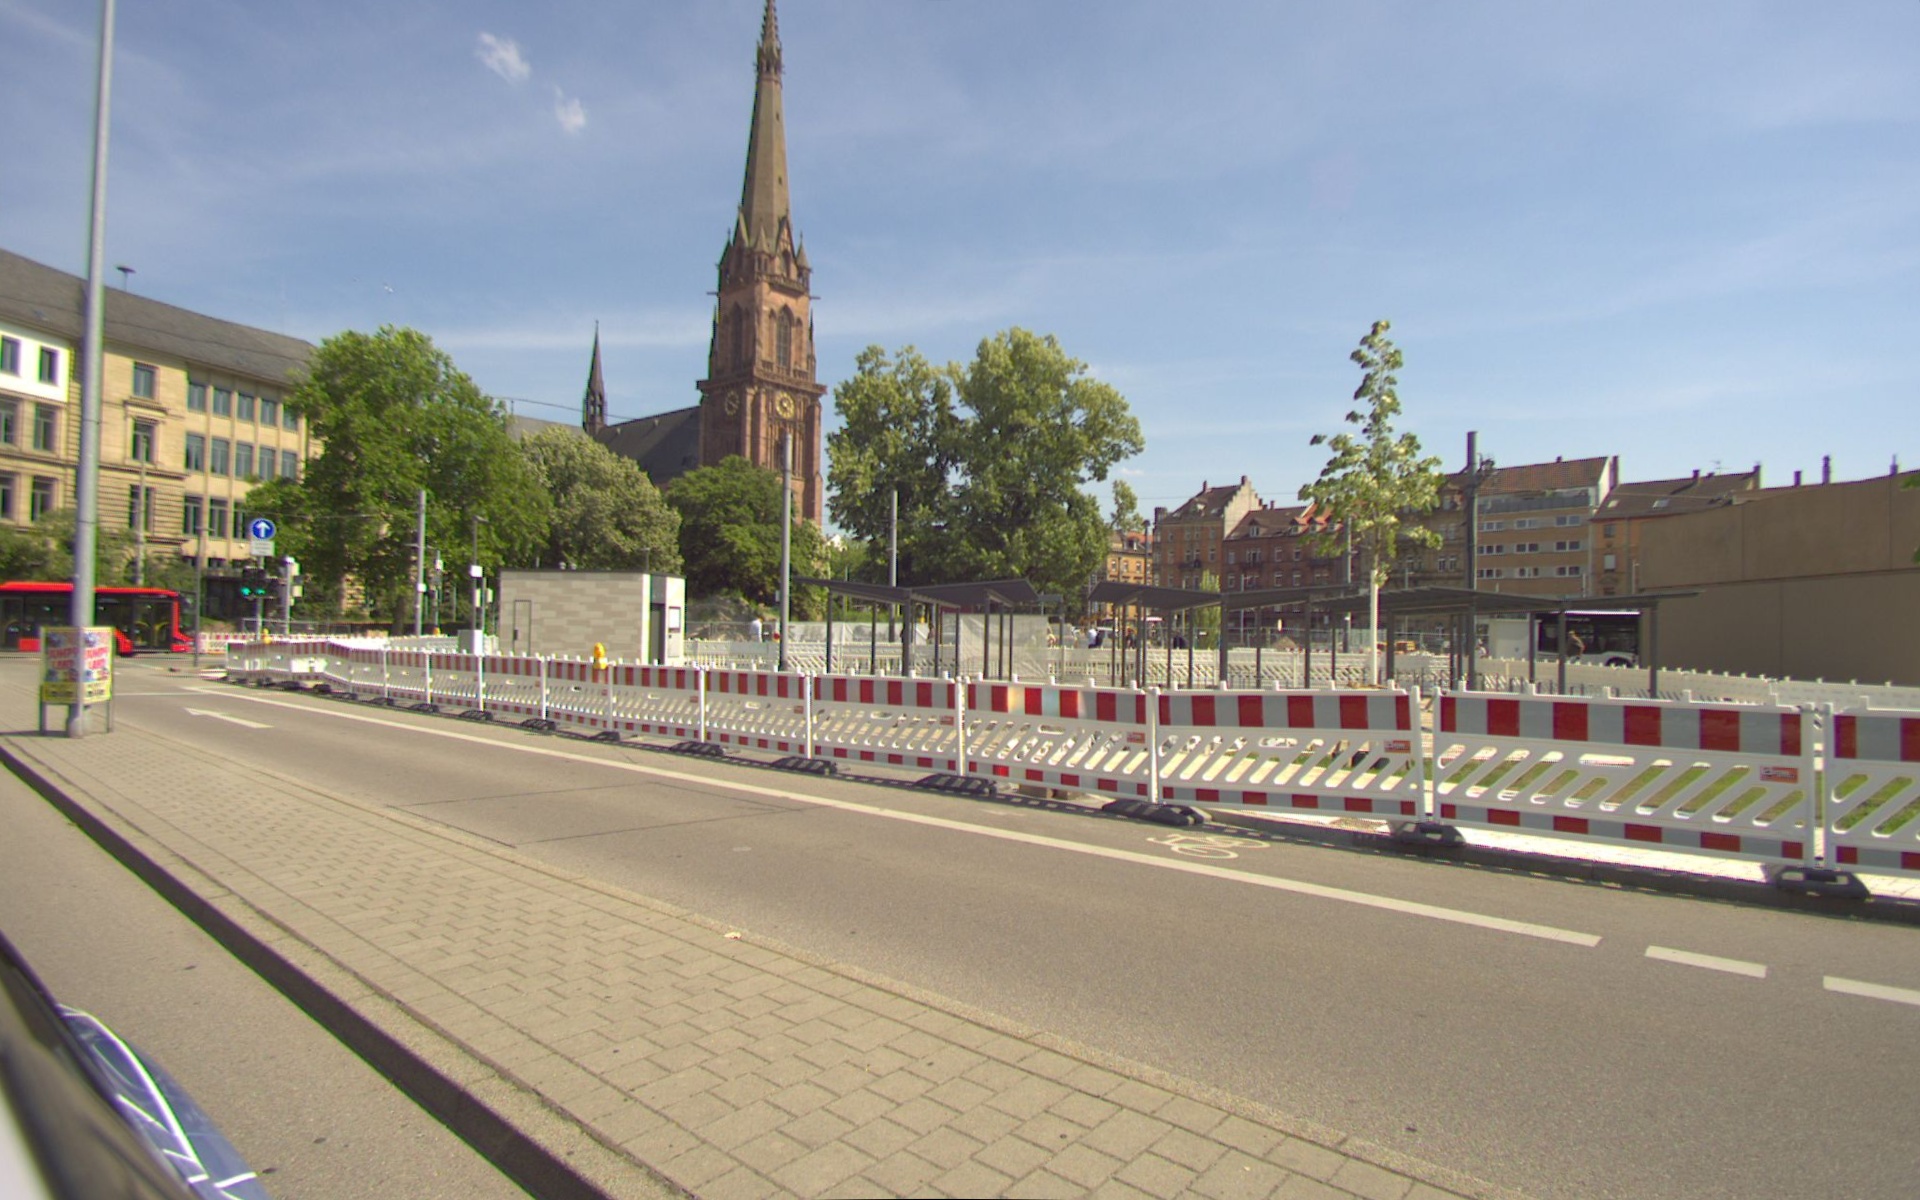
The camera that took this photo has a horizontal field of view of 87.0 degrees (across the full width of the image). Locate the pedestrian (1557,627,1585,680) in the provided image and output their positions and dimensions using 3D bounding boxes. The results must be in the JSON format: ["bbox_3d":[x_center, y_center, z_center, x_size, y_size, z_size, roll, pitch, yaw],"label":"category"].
[{"bbox_3d":[23.651,2.071,39.182,0.722,2.029,0.581,1,-2,5],"label":"pedestrian"}]

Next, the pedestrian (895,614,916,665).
[{"bbox_3d":[-2.223,1.619,41.268,0.678,2.029,0.819,1,-2,7],"label":"pedestrian"}]

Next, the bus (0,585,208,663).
[{"bbox_3d":[-39.080,0.977,42.017,12.198,3.117,3.143,0,0,-21],"label":"bus"}]

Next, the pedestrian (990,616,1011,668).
[{"bbox_3d":[1.619,1.669,40.421,0.679,2.029,0.818,1,-2,11],"label":"pedestrian"}]

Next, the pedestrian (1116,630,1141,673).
[{"bbox_3d":[6.729,2.050,40.442,0.733,1.674,0.822,1,-2,-7],"label":"pedestrian"}]

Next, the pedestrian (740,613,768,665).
[{"bbox_3d":[-8.205,1.559,40.365,0.686,2.029,0.809,-1,-3,43],"label":"pedestrian"}]

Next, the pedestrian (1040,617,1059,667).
[{"bbox_3d":[3.701,1.740,41.639,0.679,2.029,0.818,1,-2,11],"label":"pedestrian"}]

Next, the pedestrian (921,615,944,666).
[{"bbox_3d":[-1.120,1.649,41.051,0.810,2.029,0.685,1,-2,6],"label":"pedestrian"}]

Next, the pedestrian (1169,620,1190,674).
[{"bbox_3d":[8.291,1.770,38.210,0.680,2.029,0.816,0,-3,16],"label":"pedestrian"}]
